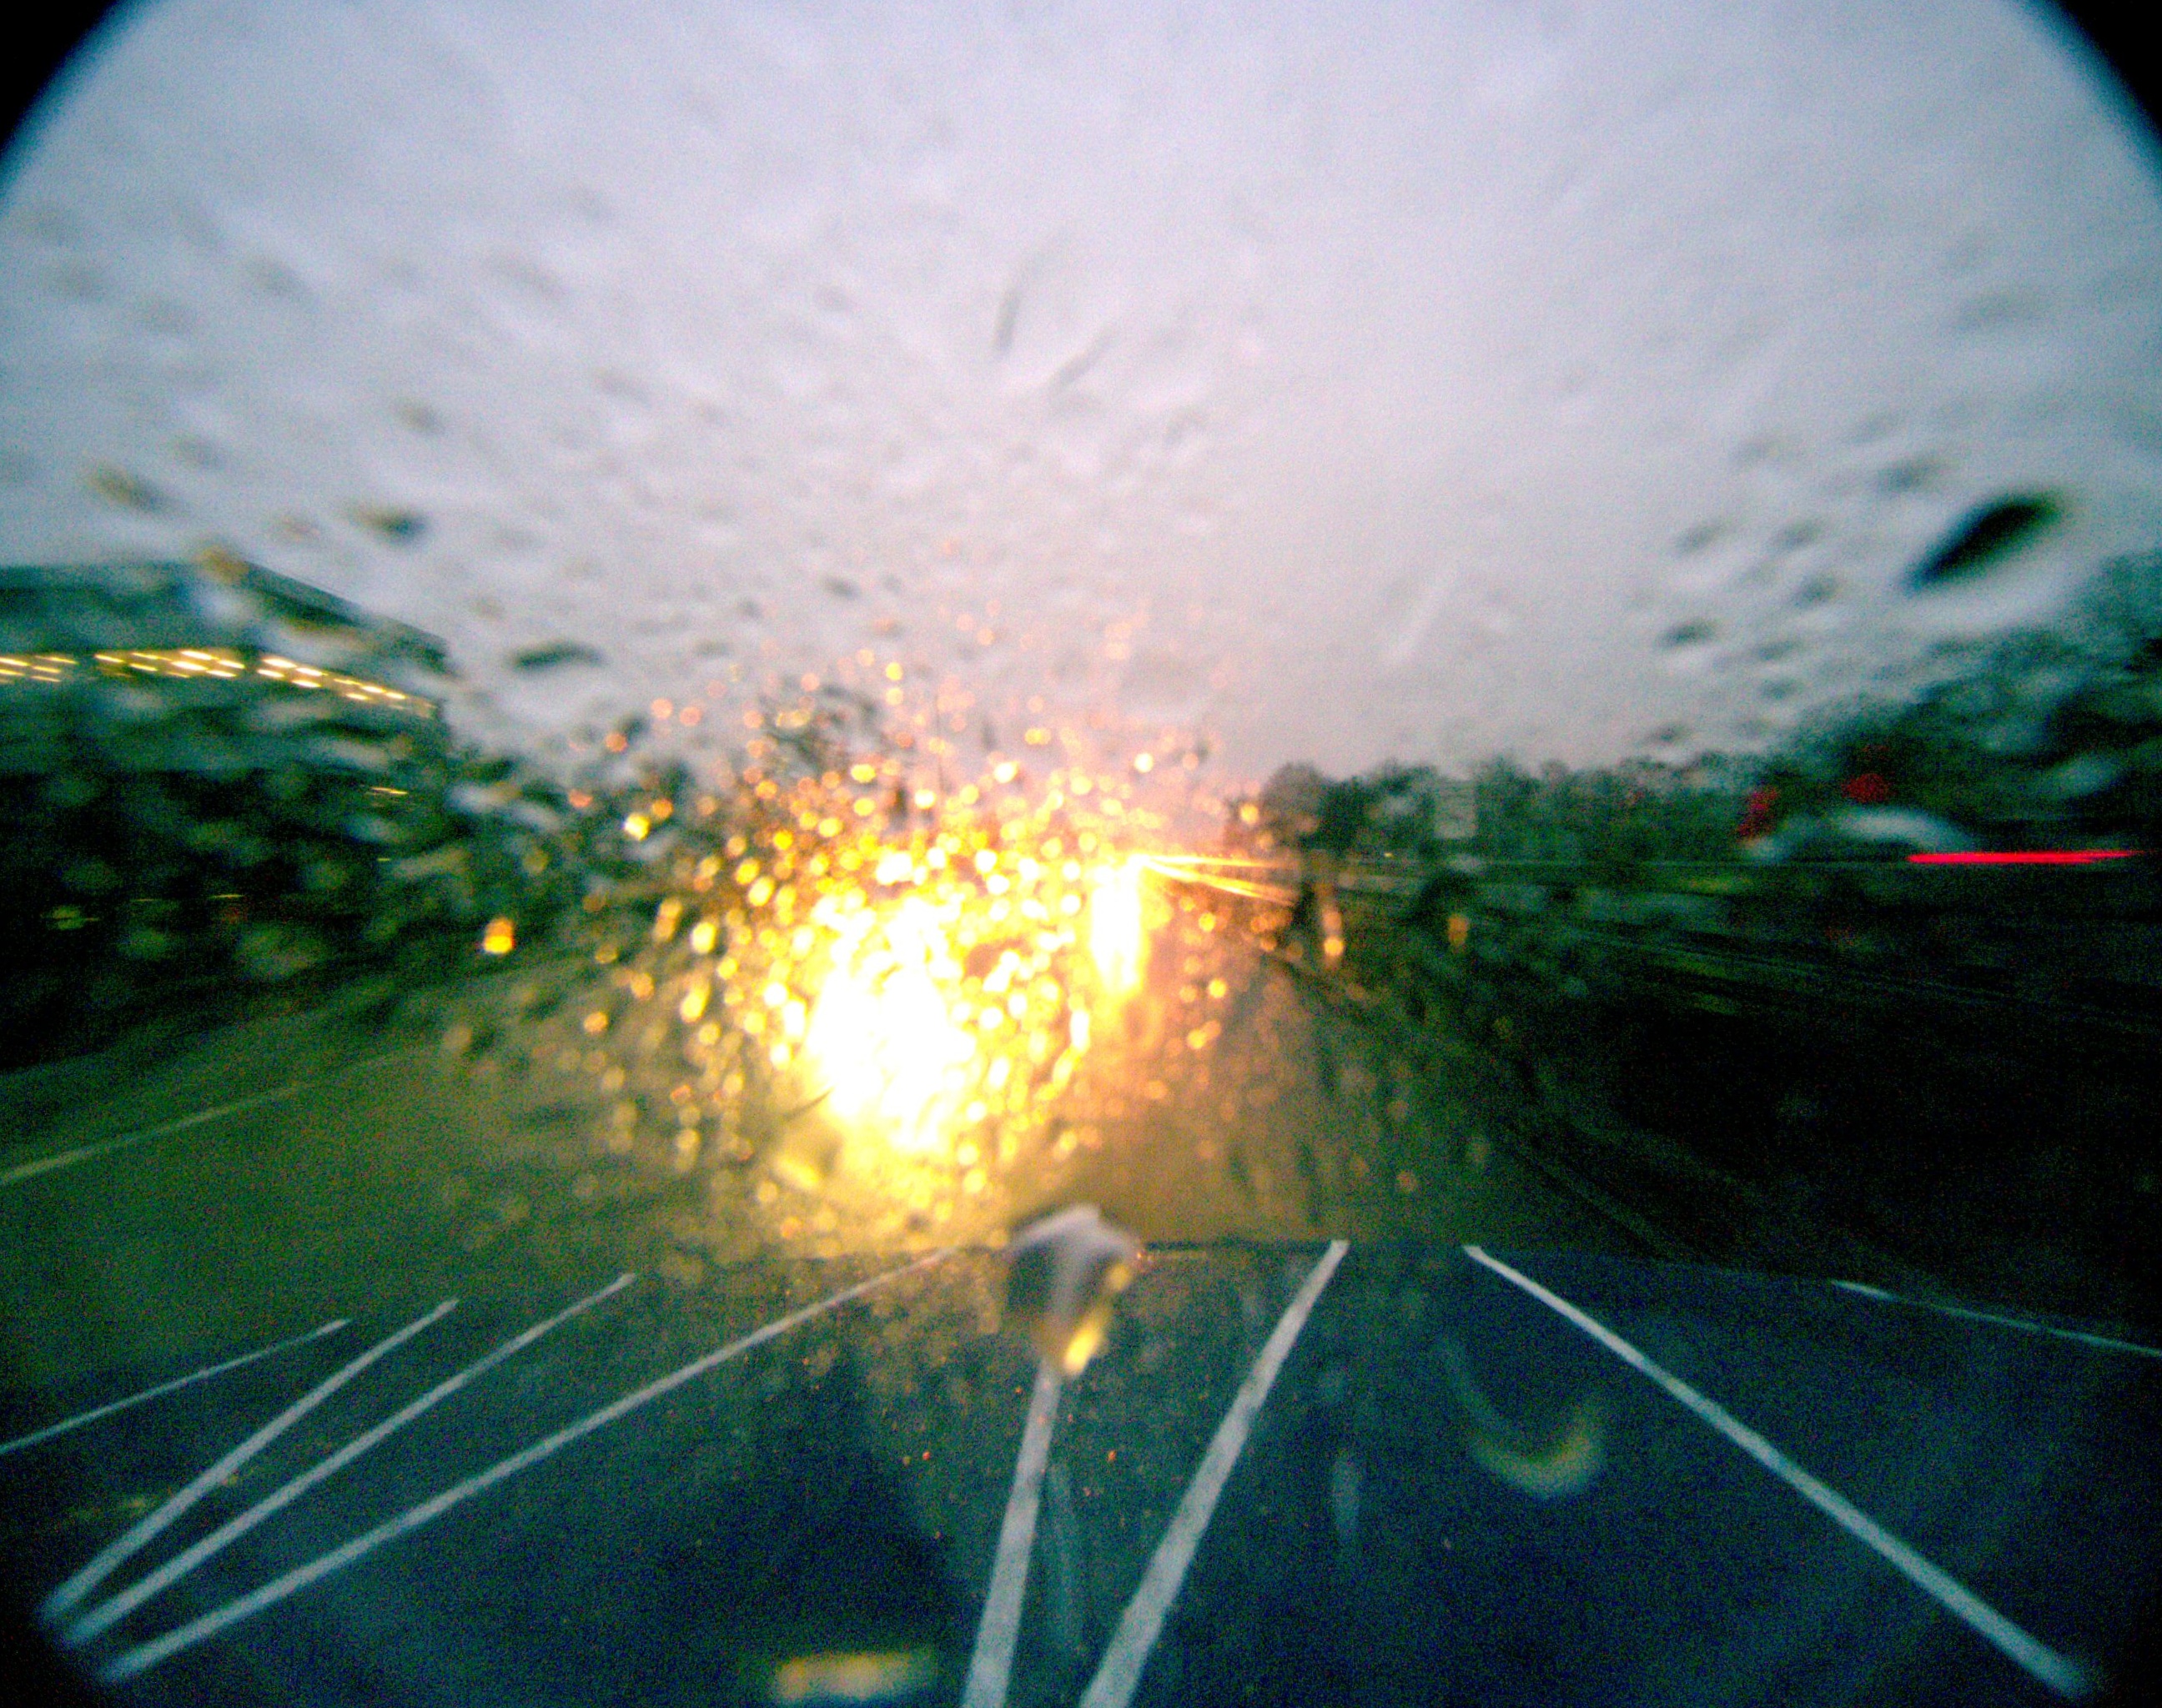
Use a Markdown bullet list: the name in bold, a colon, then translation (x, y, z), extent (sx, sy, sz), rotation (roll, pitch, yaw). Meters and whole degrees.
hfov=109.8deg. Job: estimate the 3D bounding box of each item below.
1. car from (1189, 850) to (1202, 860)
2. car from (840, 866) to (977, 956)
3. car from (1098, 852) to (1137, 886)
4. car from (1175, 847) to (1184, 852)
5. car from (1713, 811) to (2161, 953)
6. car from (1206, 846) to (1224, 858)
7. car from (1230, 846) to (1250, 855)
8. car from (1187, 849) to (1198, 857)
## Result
- **car**: translation (21.175, 0.154, 140.743), extent (1.870, 1.618, 4.780), rotation (-2, 0, 4)
- **car**: translation (-3.246, 1.018, 15.137), extent (1.595, 1.445, 4.177), rotation (-2, 0, 2)
- **car**: translation (1.818, 0.709, 37.775), extent (1.758, 1.521, 4.000), rotation (-2, 0, 3)
- **car**: translation (25.869, -1.207, 199.572), extent (1.870, 1.441, 4.646), rotation (-2, 0, 4)
- **car**: translation (11.647, 0.293, 10.719), extent (1.842, 1.547, 4.355), rotation (-2, 0, 1)
- **car**: translation (16.842, -0.272, 95.615), extent (1.701, 1.433, 3.682), rotation (-2, 0, 2)
- **car**: translation (22.904, -0.510, 109.363), extent (1.802, 1.155, 3.998), rotation (-2, 0, -3)
- **car**: translation (23.453, -0.174, 160.282), extent (1.870, 1.618, 4.646), rotation (-2, 0, 4)
